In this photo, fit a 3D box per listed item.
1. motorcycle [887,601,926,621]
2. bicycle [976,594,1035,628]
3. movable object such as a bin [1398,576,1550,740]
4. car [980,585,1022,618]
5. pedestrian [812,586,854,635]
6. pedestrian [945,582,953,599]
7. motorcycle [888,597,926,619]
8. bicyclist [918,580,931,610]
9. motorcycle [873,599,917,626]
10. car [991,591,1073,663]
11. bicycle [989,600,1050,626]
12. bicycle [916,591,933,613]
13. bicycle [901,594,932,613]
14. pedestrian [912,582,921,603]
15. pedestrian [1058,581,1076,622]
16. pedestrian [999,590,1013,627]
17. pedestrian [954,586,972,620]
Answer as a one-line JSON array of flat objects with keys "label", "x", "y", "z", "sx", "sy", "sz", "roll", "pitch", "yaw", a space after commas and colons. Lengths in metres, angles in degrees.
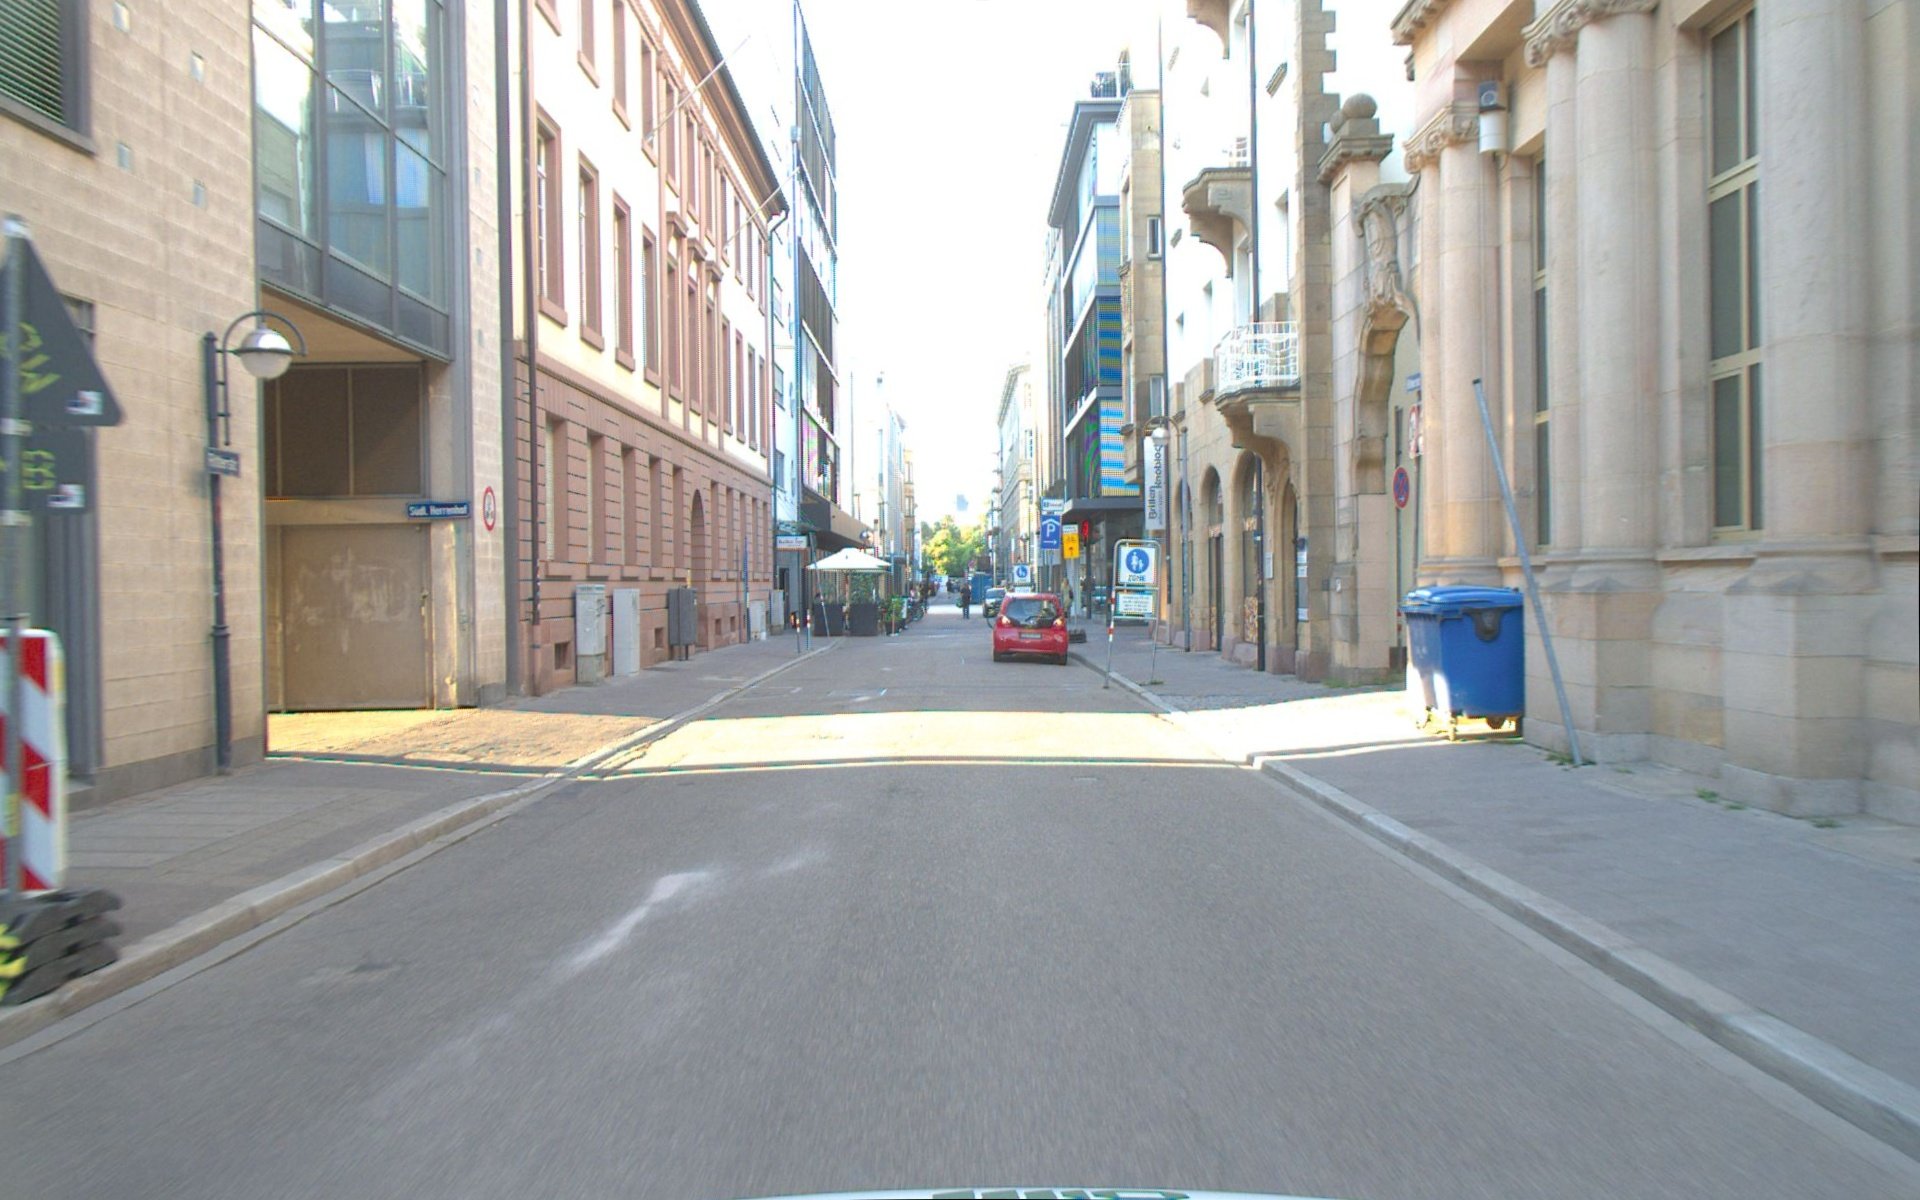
[{"label": "motorcycle", "x": -2.464, "y": 0.510, "z": 76.015, "sx": 1.766, "sy": 0.891, "sz": 0.560, "roll": -1, "pitch": 0, "yaw": -4}, {"label": "bicycle", "x": 1.595, "y": 0.366, "z": 58.029, "sx": 2.011, "sy": 1.154, "sz": 0.649, "roll": -1, "pitch": 0, "yaw": -4}, {"label": "movable object such as a bin", "x": 4.722, "y": 0.507, "z": 15.280, "sx": 0.970, "sy": 1.416, "sz": 1.240, "roll": -2, "pitch": 0, "yaw": -1}, {"label": "car", "x": 2.108, "y": 0.058, "z": 85.291, "sx": 1.953, "sy": 1.639, "sz": 3.999, "roll": -1, "pitch": 0, "yaw": -2}, {"label": "pedestrian", "x": -3.972, "y": 0.311, "z": 51.913, "sx": 1.264, "sy": 1.513, "sz": 0.661, "roll": -1, "pitch": 0, "yaw": -2}, {"label": "pedestrian", "x": -1.132, "y": -0.969, "z": 171.573, "sx": 0.788, "sy": 1.702, "sz": 0.888, "roll": -1, "pitch": 0, "yaw": 2}, {"label": "motorcycle", "x": -2.474, "y": 0.366, "z": 77.050, "sx": 1.766, "sy": 1.007, "sz": 0.560, "roll": -1, "pitch": 0, "yaw": -4}, {"label": "bicyclist", "x": -2.008, "y": -0.279, "z": 93.294, "sx": 0.624, "sy": 1.669, "sz": 0.770, "roll": -1, "pitch": 0, "yaw": -9}, {"label": "motorcycle", "x": -2.661, "y": 0.504, "z": 67.838, "sx": 1.766, "sy": 1.059, "sz": 0.493, "roll": -1, "pitch": 0, "yaw": -4}, {"label": "car", "x": 1.529, "y": 0.553, "z": 36.202, "sx": 1.615, "sy": 1.452, "sz": 3.535, "roll": 2, "pitch": 0, "yaw": 0}, {"label": "bicycle", "x": 2.188, "y": 0.485, "z": 60.759, "sx": 2.157, "sy": 0.921, "sz": 0.649, "roll": -1, "pitch": 0, "yaw": -4}, {"label": "bicycle", "x": -1.990, "y": 0.101, "z": 93.197, "sx": 0.624, "sy": 1.177, "sz": 2.496, "roll": -1, "pitch": 0, "yaw": -9}, {"label": "bicycle", "x": -2.175, "y": 0.182, "z": 83.120, "sx": 1.501, "sy": 0.912, "sz": 0.481, "roll": -1, "pitch": 0, "yaw": -28}, {"label": "pedestrian", "x": -3.315, "y": -0.568, "z": 126.896, "sx": 0.664, "sy": 1.651, "sz": 0.626, "roll": -1, "pitch": 0, "yaw": 2}, {"label": "pedestrian", "x": 3.976, "y": 0.045, "z": 61.599, "sx": 0.643, "sy": 1.513, "sz": 0.493, "roll": -1, "pitch": 0, "yaw": 2}, {"label": "pedestrian", "x": 2.038, "y": 0.380, "z": 73.408, "sx": 0.456, "sy": 1.648, "sz": 0.633, "roll": -1, "pitch": 0, "yaw": -11}, {"label": "pedestrian", "x": 0.149, "y": 0.140, "z": 85.665, "sx": 0.848, "sy": 1.743, "sz": 0.852, "roll": -1, "pitch": 0, "yaw": -2}]
